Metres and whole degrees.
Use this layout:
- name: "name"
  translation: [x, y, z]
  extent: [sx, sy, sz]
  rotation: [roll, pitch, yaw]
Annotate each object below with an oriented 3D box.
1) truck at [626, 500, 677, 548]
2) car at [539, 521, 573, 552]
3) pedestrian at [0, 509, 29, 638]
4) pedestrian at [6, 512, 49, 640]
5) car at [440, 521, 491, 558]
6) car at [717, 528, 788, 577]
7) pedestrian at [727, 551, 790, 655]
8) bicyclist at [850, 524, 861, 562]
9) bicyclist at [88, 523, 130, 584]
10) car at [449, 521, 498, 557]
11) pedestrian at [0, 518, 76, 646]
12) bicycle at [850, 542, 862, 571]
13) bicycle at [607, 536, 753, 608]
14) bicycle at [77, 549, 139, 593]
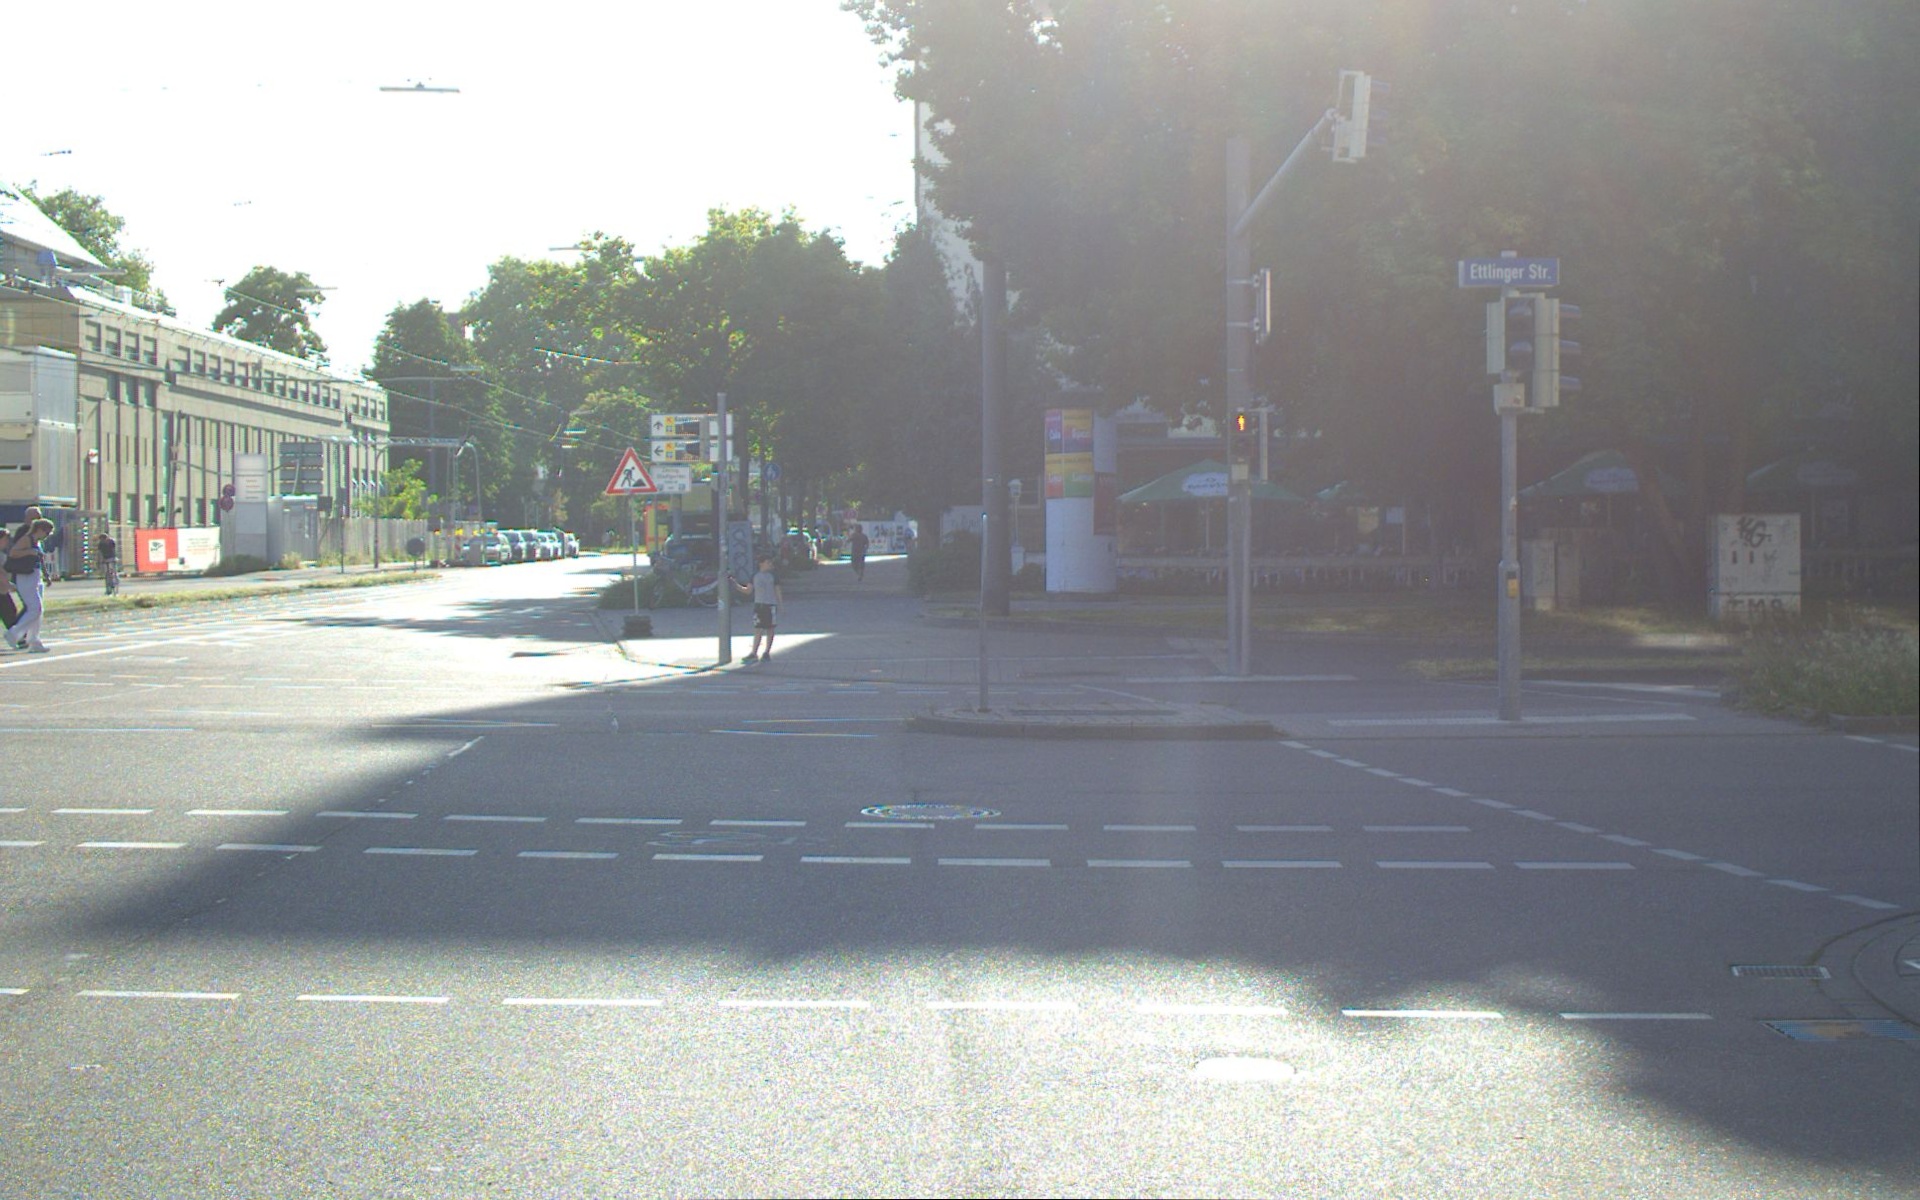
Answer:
- name: "truck"
  translation: [-13.483, -3.317, 150.436]
  extent: [1.915, 2.085, 4.000]
  rotation: [0, 1, -1]
- name: "car"
  translation: [-22.825, -3.582, 194.494]
  extent: [1.483, 1.744, 4.000]
  rotation: [-1, 1, -1]
- name: "pedestrian"
  translation: [-12.361, -0.332, 43.874]
  extent: [0.795, 1.634, 0.533]
  rotation: [0, 1, 2]
- name: "pedestrian"
  translation: [-12.160, -0.316, 44.819]
  extent: [0.441, 1.657, 0.376]
  rotation: [-1, 1, -1]
- name: "car"
  translation: [-22.402, -2.727, 155.828]
  extent: [1.731, 1.647, 4.000]
  rotation: [0, 1, -1]
- name: "car"
  translation: [-5.521, -1.284, 91.949]
  extent: [1.819, 1.274, 4.001]
  rotation: [0, 1, -3]
- name: "pedestrian"
  translation: [-2.608, 0.032, 44.539]
  extent: [0.752, 1.328, 0.742]
  rotation: [0, 1, 1]
- name: "bicyclist"
  translation: [-3.077, -1.690, 101.457]
  extent: [0.318, 1.123, 0.291]
  rotation: [-1, 1, -1]
- name: "bicyclist"
  translation: [-22.729, -1.241, 91.833]
  extent: [0.875, 1.636, 0.822]
  rotation: [0, 1, 1]
- name: "car"
  translation: [-22.622, -2.841, 160.048]
  extent: [1.731, 1.647, 4.000]
  rotation: [0, 1, -1]
- name: "pedestrian"
  translation: [-11.624, -0.222, 42.936]
  extent: [0.984, 1.582, 0.660]
  rotation: [0, 0, 1]
- name: "bicycle"
  translation: [-3.067, -1.287, 101.377]
  extent: [0.324, 0.865, 1.483]
  rotation: [-1, 1, -1]
- name: "bicycle"
  translation: [-5.468, -0.552, 67.143]
  extent: [2.748, 1.363, 0.630]
  rotation: [1, 0, 11]
- name: "bicycle"
  translation: [-22.740, -0.783, 91.787]
  extent: [0.875, 1.117, 3.013]
  rotation: [0, 1, 1]
